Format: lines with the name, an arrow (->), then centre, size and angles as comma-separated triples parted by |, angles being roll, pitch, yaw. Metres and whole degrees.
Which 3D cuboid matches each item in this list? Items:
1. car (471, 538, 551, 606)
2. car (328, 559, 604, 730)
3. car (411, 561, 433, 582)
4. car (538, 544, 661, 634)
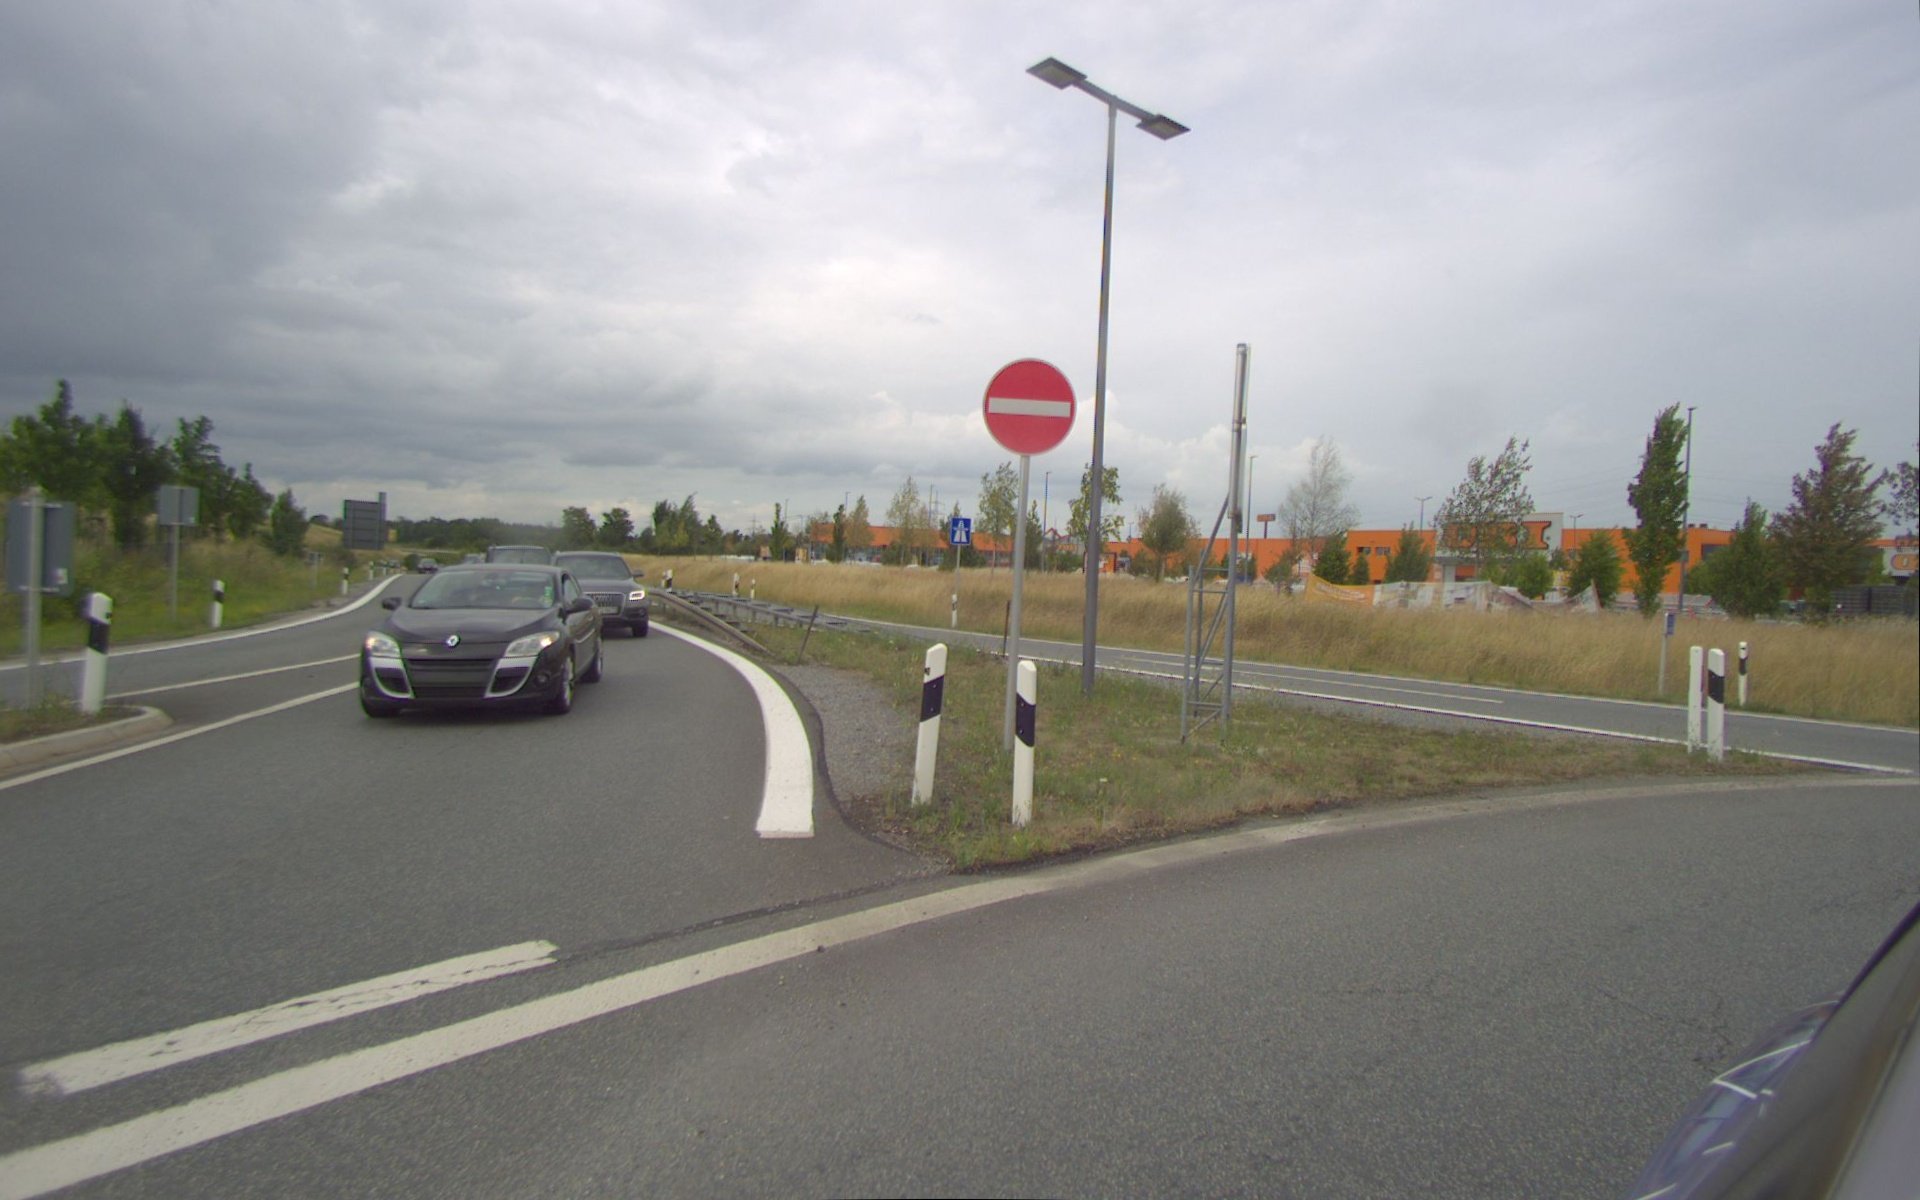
car -> -12.691, -0.811, 28.455 | 1.687, 1.742, 4.753 | 0, 2, -28
car -> -4.804, 0.288, 10.460 | 1.805, 1.387, 4.155 | 0, 2, -15
car -> -51.496, -2.745, 96.836 | 1.728, 1.906, 4.005 | 0, 2, -30
car -> -7.343, -0.272, 20.350 | 1.845, 1.602, 4.284 | 0, 2, -26
